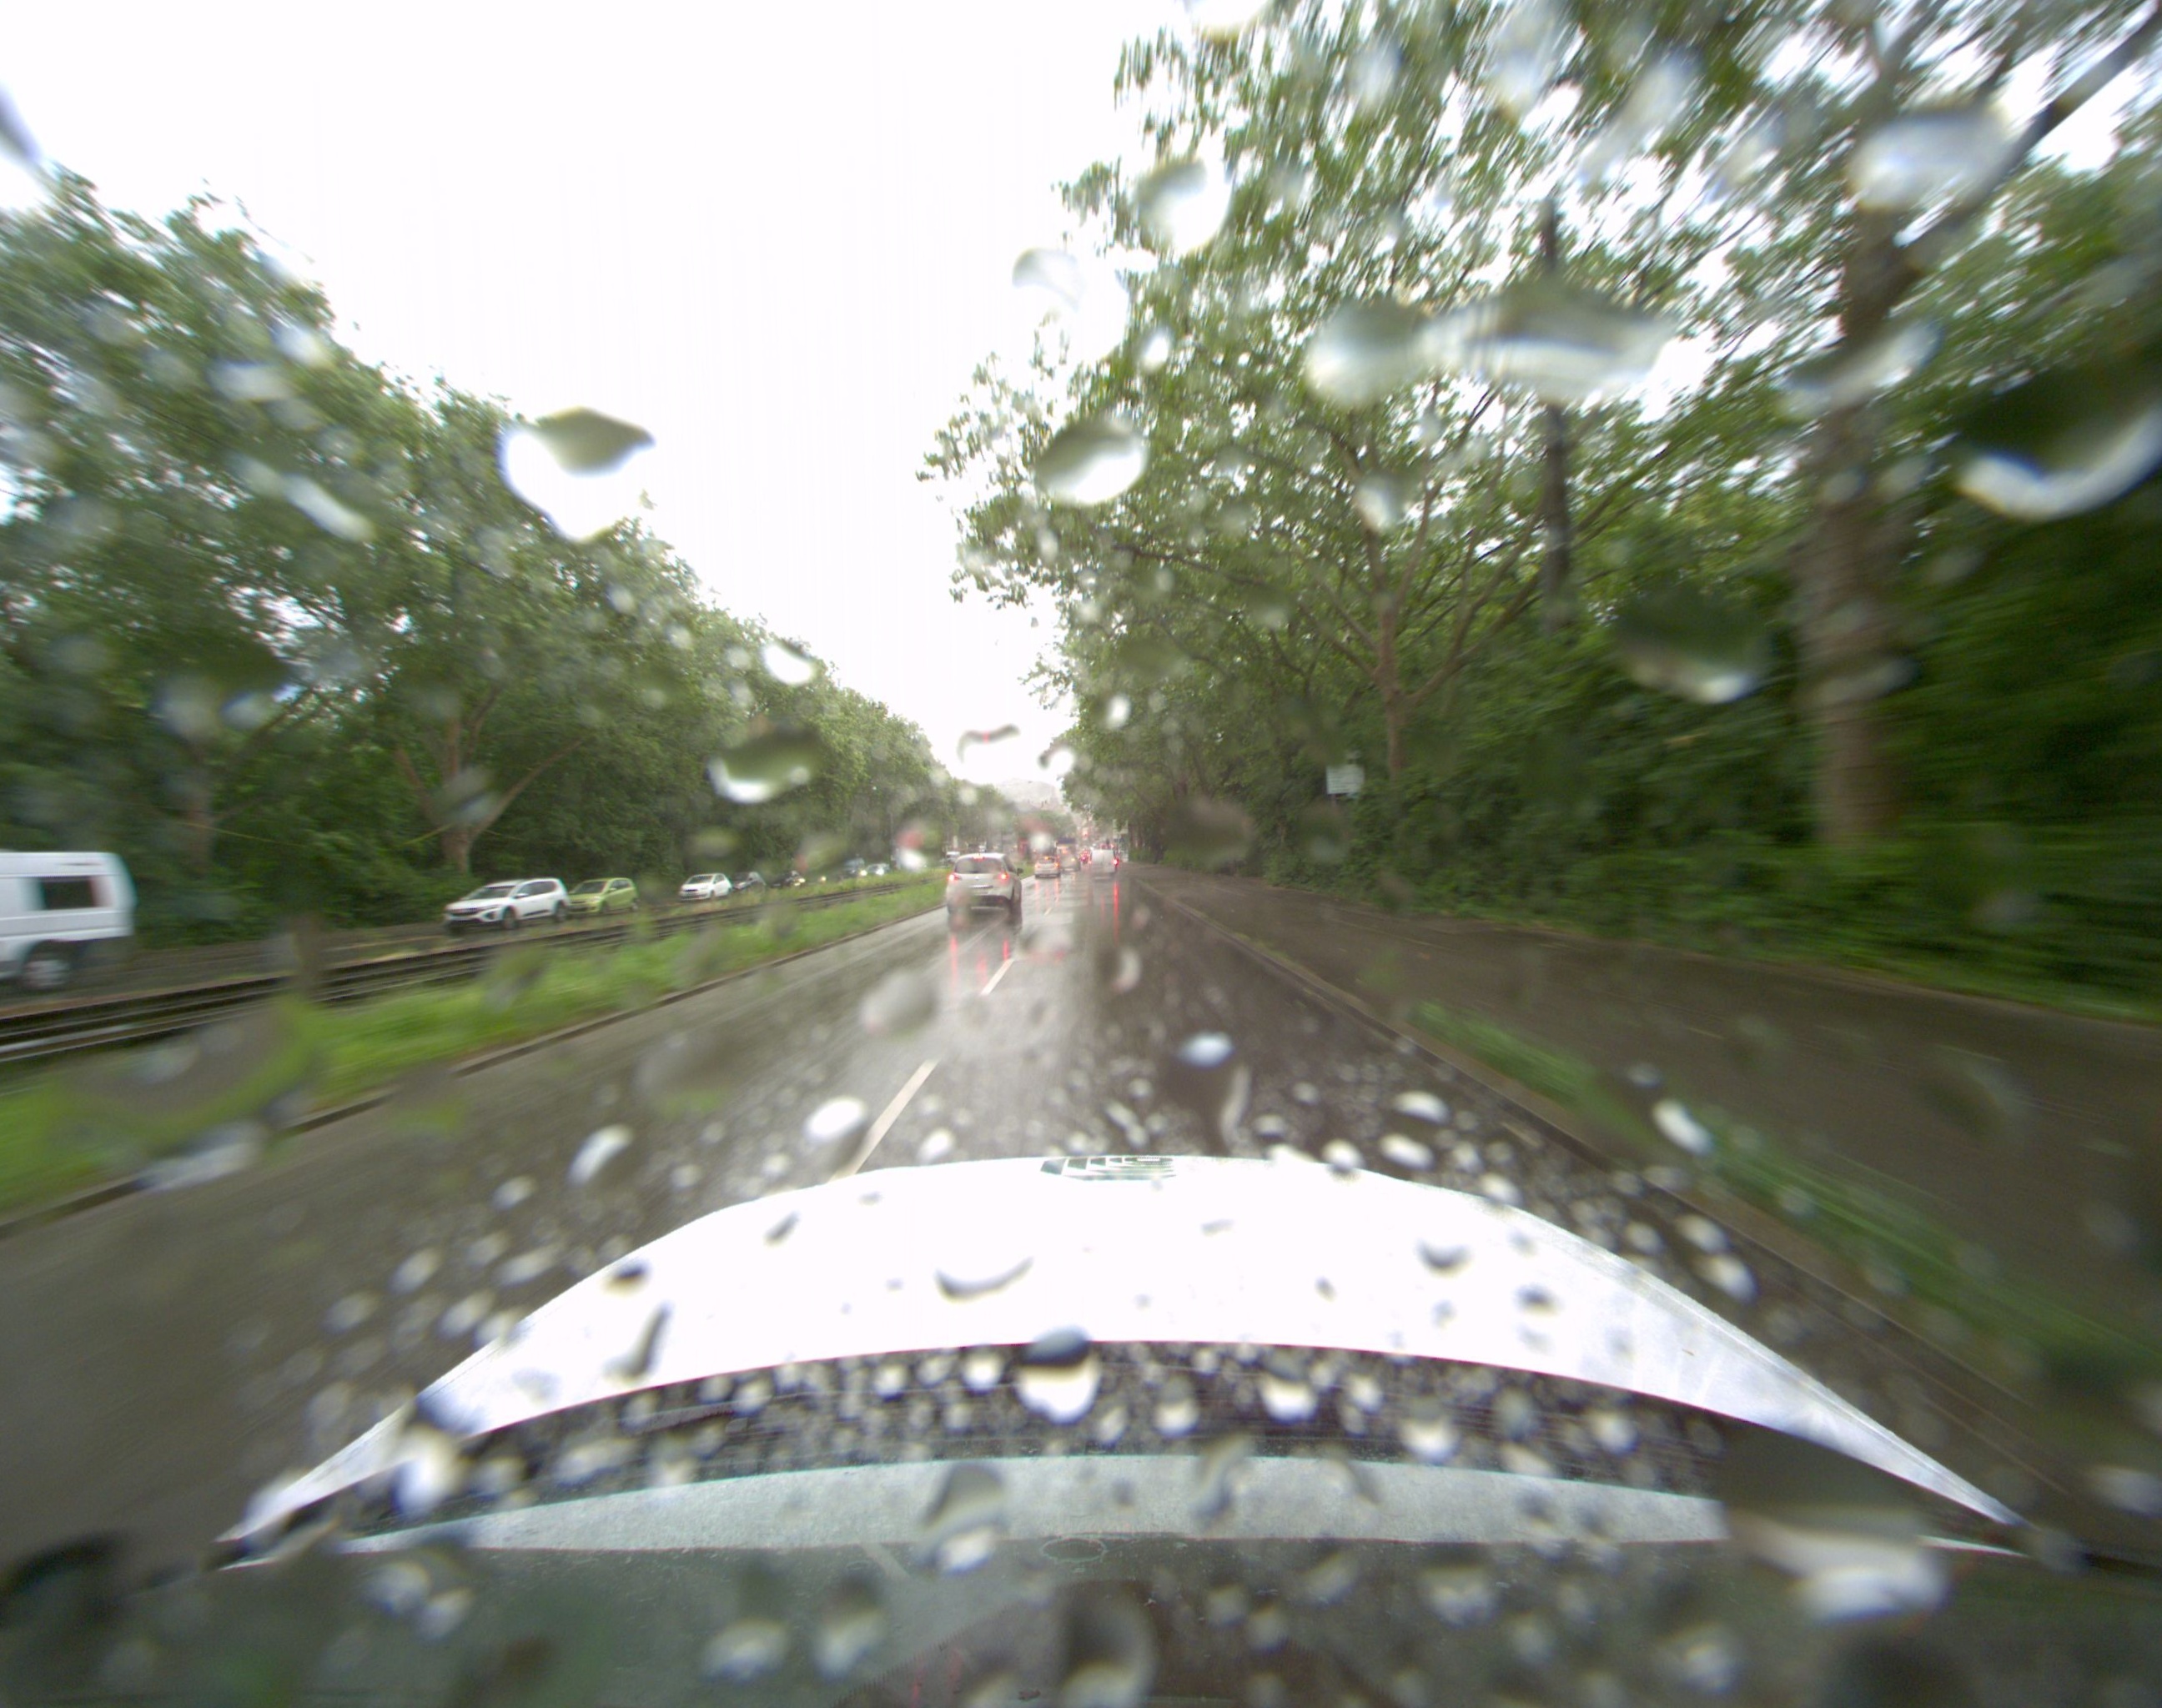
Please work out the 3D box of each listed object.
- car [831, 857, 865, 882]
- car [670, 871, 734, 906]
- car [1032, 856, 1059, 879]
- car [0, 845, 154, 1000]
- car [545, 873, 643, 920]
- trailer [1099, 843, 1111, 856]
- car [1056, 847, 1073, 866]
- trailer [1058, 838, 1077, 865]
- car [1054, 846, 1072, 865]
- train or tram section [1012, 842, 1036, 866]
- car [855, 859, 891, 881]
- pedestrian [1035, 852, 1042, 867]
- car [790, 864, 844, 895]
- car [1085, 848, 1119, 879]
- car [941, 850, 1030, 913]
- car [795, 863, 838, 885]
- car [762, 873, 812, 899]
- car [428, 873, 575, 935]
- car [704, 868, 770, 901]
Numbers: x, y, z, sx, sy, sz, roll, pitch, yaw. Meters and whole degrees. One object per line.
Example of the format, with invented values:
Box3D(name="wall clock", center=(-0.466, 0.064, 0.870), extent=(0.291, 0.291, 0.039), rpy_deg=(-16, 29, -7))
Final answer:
Box3D(name="car", center=(-21.522, 1.428, 75.372), extent=(2.028, 2.093, 4.796), rpy_deg=(-3, 0, -4))
Box3D(name="car", center=(-20.543, 1.822, 44.285), extent=(1.757, 1.648, 3.810), rpy_deg=(-3, 0, -2))
Box3D(name="car", center=(-2.464, 0.938, 57.172), extent=(1.720, 1.479, 3.804), rpy_deg=(-1, -1, 0))
Box3D(name="car", center=(-18.886, 1.179, 12.268), extent=(2.384, 2.541, 6.560), rpy_deg=(-3, 0, -2))
Box3D(name="car", center=(-19.821, 1.700, 33.346), extent=(1.757, 1.648, 3.810), rpy_deg=(-3, 0, -2))
Box3D(name="trailer", center=(4.641, -0.824, 159.948), extent=(1.988, 2.317, 4.665), rpy_deg=(-1, -1, -2))
Box3D(name="car", center=(-2.134, 0.381, 104.255), extent=(1.987, 2.262, 5.287), rpy_deg=(-1, -1, 0))
Box3D(name="trailer", center=(-2.044, -0.384, 122.050), extent=(2.583, 3.899, 7.631), rpy_deg=(-1, 0, -1))
Box3D(name="car", center=(-2.428, 0.277, 112.881), extent=(2.322, 2.557, 6.113), rpy_deg=(-1, -1, 0))
Box3D(name="train or tram section", center=(-8.376, -0.073, 120.585), extent=(2.953, 3.285, 8.356), rpy_deg=(-3, 1, -1))
Box3D(name="car", center=(-17.977, 1.329, 70.684), extent=(2.027, 1.751, 4.690), rpy_deg=(-3, 0, -2))
Box3D(name="pedestrian", center=(-5.086, 0.645, 96.523), extent=(0.788, 1.714, 0.770), rpy_deg=(0, -2, -1))
Box3D(name="car", center=(-16.537, 1.554, 51.240), extent=(2.027, 1.751, 4.255), rpy_deg=(-3, 0, -2))
Box3D(name="car", center=(1.259, 0.563, 49.714), extent=(1.953, 1.777, 3.568), rpy_deg=(-1, -1, 0))
Box3D(name="car", center=(-2.634, 0.742, 23.450), extent=(1.857, 1.623, 4.265), rpy_deg=(-1, 0, 2))
Box3D(name="car", center=(-20.936, 1.563, 64.538), extent=(2.026, 1.657, 4.606), rpy_deg=(-1, 0, -2))
Box3D(name="car", center=(-20.715, 2.239, 57.604), extent=(2.027, 1.657, 4.604), rpy_deg=(-2, 0, -3))
Box3D(name="car", center=(-19.306, 1.601, 27.428), extent=(1.746, 1.728, 4.527), rpy_deg=(-3, 0, -2))
Box3D(name="car", center=(-20.674, 1.792, 49.145), extent=(2.027, 1.751, 4.690), rpy_deg=(-3, 0, -2))
